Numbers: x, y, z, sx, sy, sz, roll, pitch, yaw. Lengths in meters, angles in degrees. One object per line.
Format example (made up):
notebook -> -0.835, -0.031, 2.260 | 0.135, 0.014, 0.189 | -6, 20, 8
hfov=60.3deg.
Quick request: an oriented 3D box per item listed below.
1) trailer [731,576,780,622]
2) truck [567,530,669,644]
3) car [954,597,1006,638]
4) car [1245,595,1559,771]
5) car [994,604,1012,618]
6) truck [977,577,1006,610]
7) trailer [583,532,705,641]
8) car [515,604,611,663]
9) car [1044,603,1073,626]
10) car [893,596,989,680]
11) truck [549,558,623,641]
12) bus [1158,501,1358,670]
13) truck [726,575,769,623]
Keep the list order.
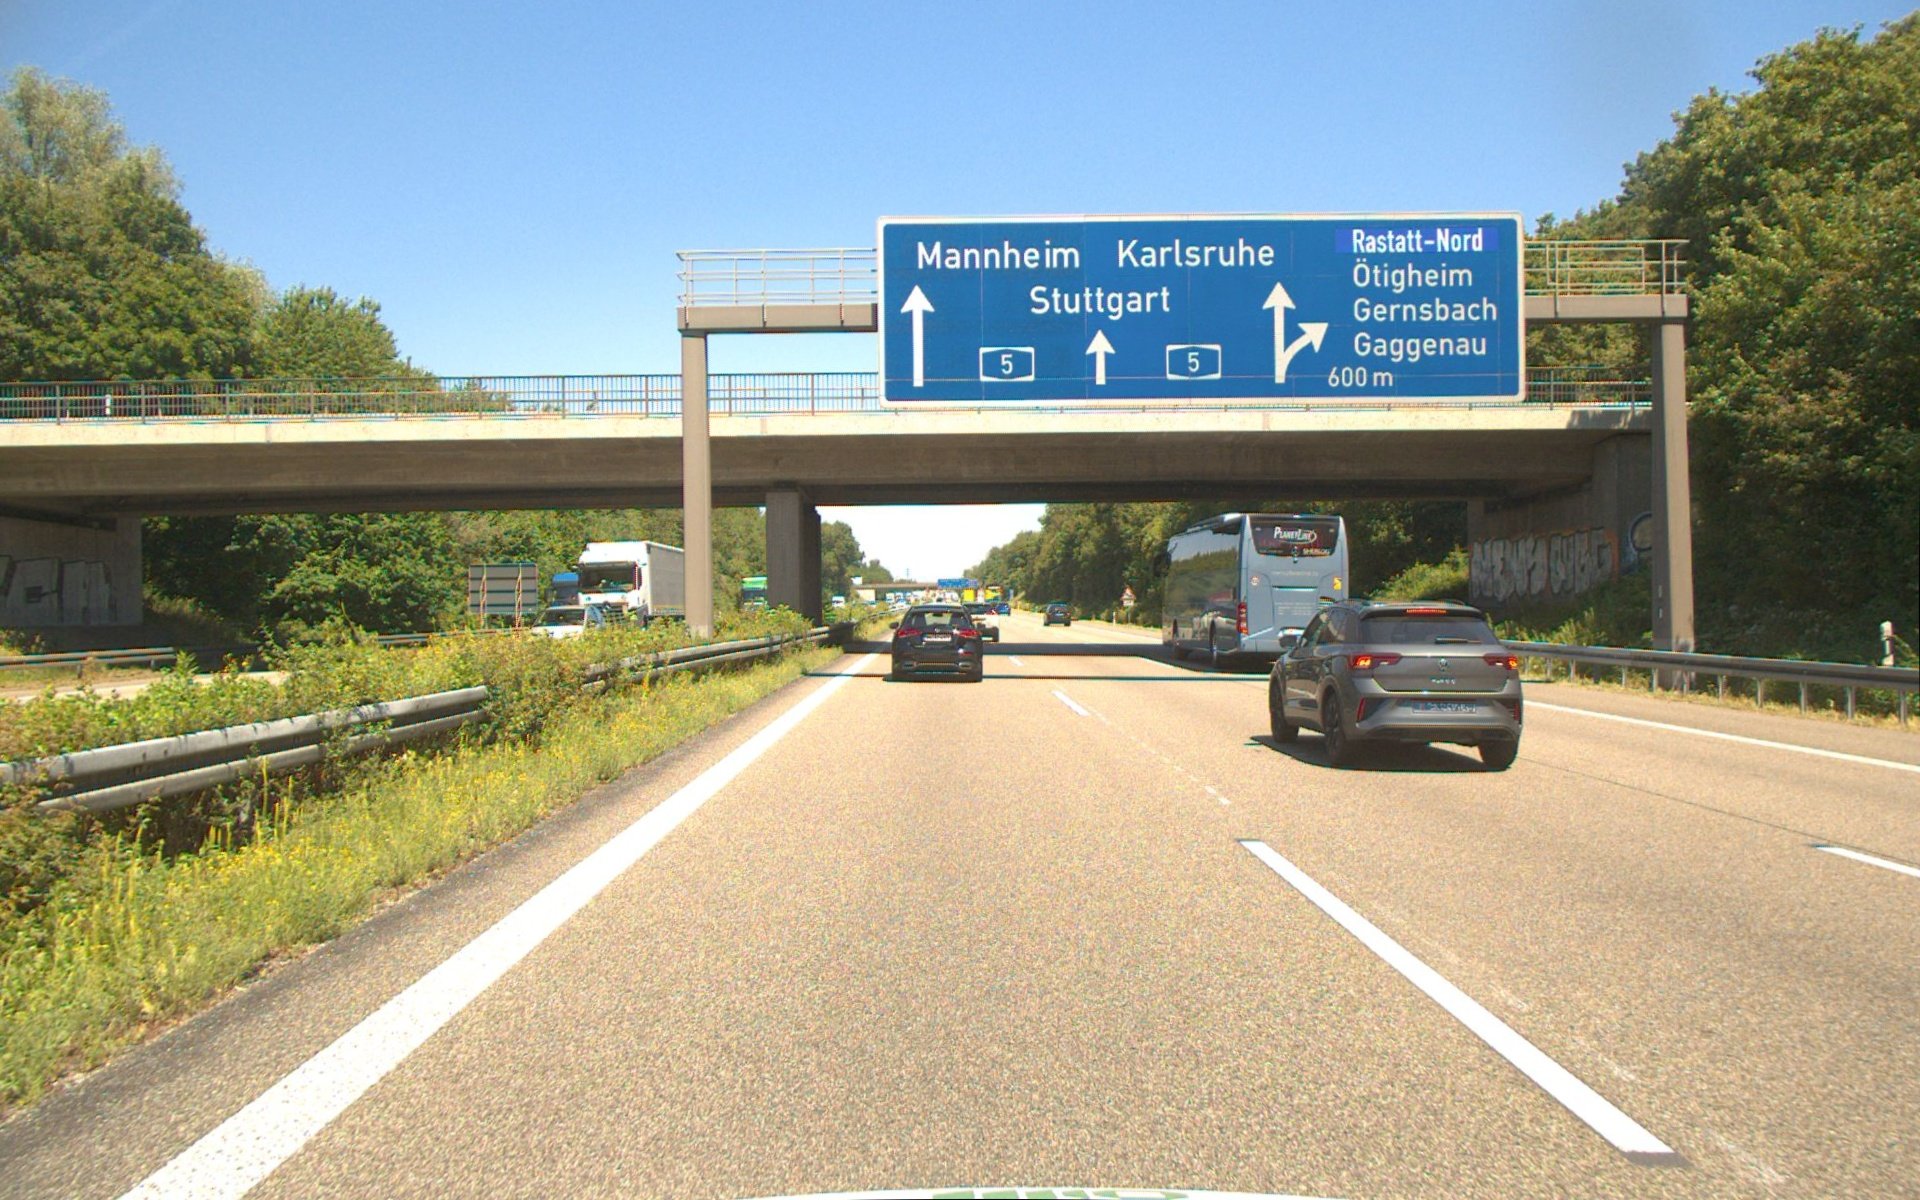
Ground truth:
trailer -> -19.201, -0.067, 156.008 | 3.151, 4.130, 12.738 | -1, 0, -1
truck -> -13.727, -0.520, 66.847 | 2.771, 4.285, 5.888 | -2, 0, -1
car -> 0.764, 0.661, 65.423 | 1.861, 1.559, 4.240 | 0, 0, -2
car -> 4.356, 0.734, 17.139 | 1.861, 1.559, 4.758 | 0, 0, -2
car -> 5.105, 1.286, 197.445 | 2.038, 1.559, 4.241 | 0, 0, 0
truck -> 4.625, -0.928, 247.600 | 3.573, 4.670, 15.761 | 1, 0, -2
trailer -> -13.808, -0.560, 73.654 | 2.771, 4.298, 13.833 | -2, 0, -1
car -> -11.266, 0.916, 47.227 | 1.861, 1.580, 4.239 | -1, 0, -3
car -> 6.707, 0.993, 113.260 | 1.753, 1.487, 3.949 | 0, 0, 0
car -> -0.410, 0.699, 32.634 | 1.763, 1.528, 4.240 | 0, 0, -2
truck -> -18.134, -0.033, 80.534 | 2.311, 3.841, 5.251 | -2, 0, -1
bus -> 7.243, -0.305, 42.255 | 2.745, 3.659, 12.472 | 0, 0, 0
truck -> -19.073, -0.094, 148.817 | 3.152, 4.130, 5.617 | -1, 0, -1
